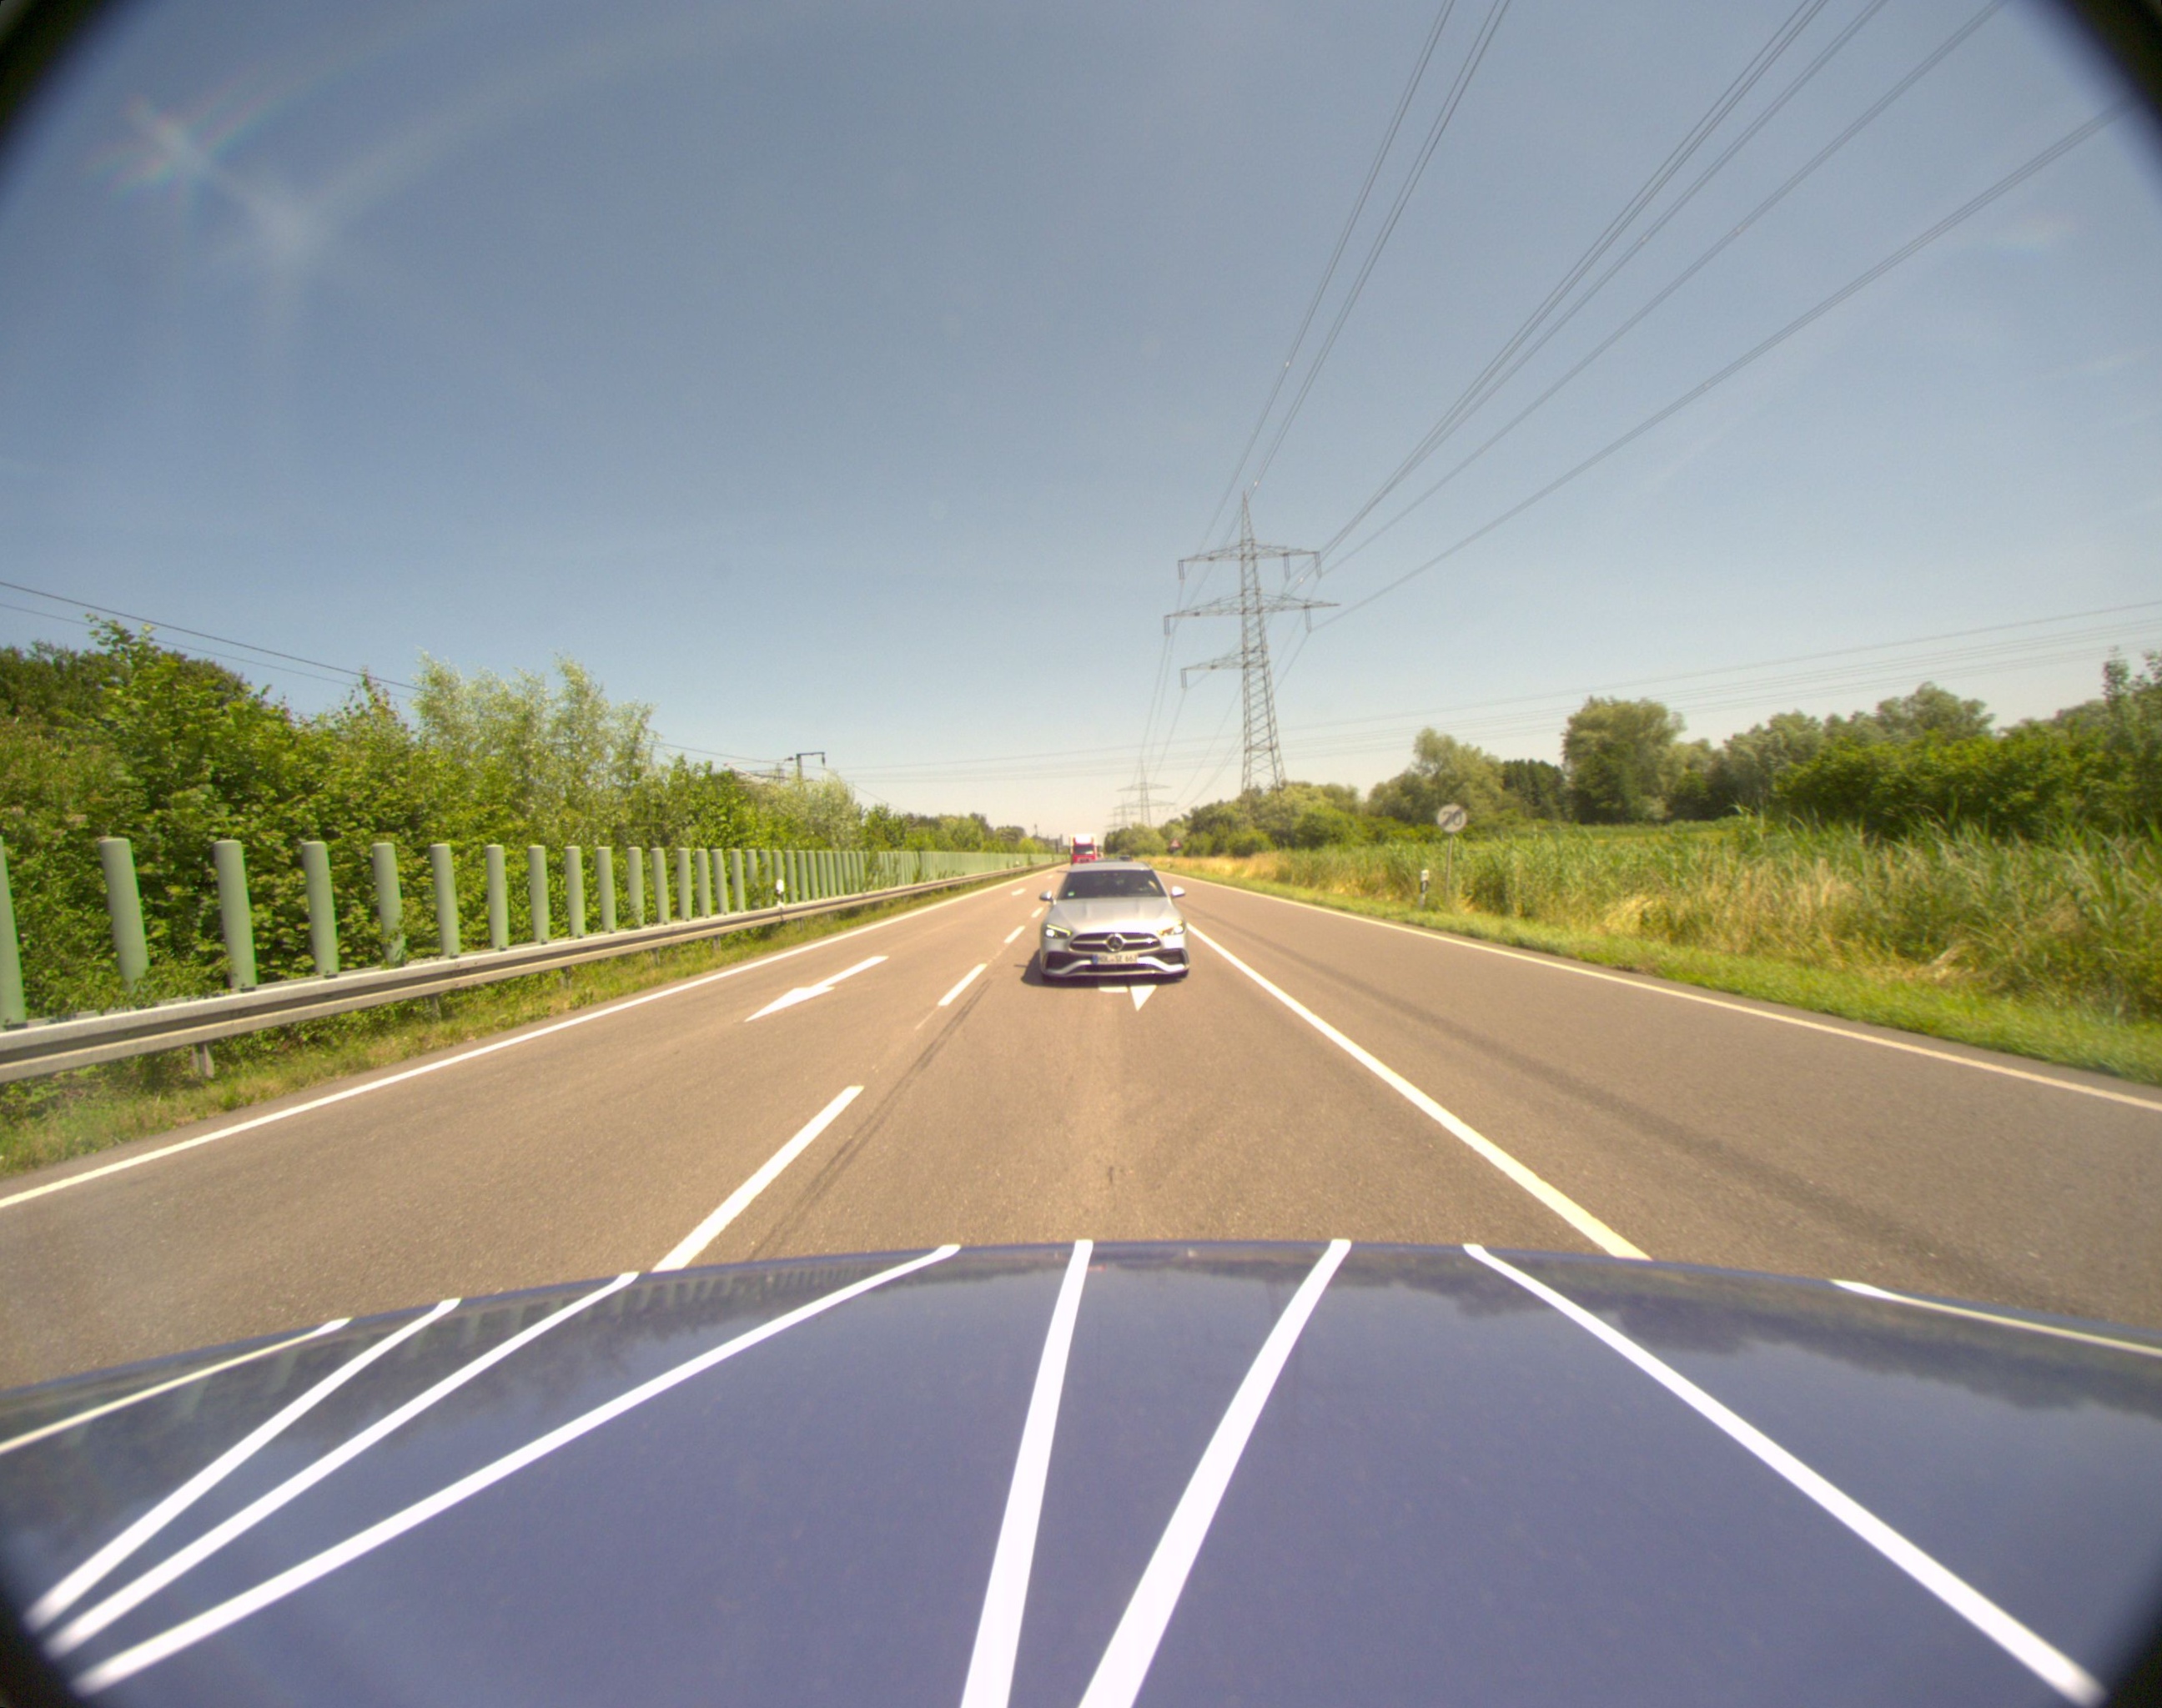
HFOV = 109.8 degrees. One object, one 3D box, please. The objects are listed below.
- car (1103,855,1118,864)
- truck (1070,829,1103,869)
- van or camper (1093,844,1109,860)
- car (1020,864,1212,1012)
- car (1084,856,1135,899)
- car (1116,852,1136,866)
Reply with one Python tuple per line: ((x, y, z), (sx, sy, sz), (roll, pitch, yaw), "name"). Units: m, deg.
((3.992, 0.758, 104.320), (1.864, 1.221, 4.322), (-2, 0, 0), "car")
((0.567, -0.476, 76.185), (2.907, 3.641, 7.156), (-4, 0, 1), "truck")
((3.817, -0.406, 146.807), (2.578, 2.865, 6.744), (-2, 1, -2), "van or camper")
((0.433, 0.924, 10.331), (1.998, 1.437, 4.467), (-2, 0, 1), "car")
((1.069, 0.810, 28.505), (1.697, 1.385, 4.468), (-2, 0, 2), "car")
((4.781, 0.514, 80.868), (1.749, 1.425, 4.322), (-2, 0, 0), "car")
